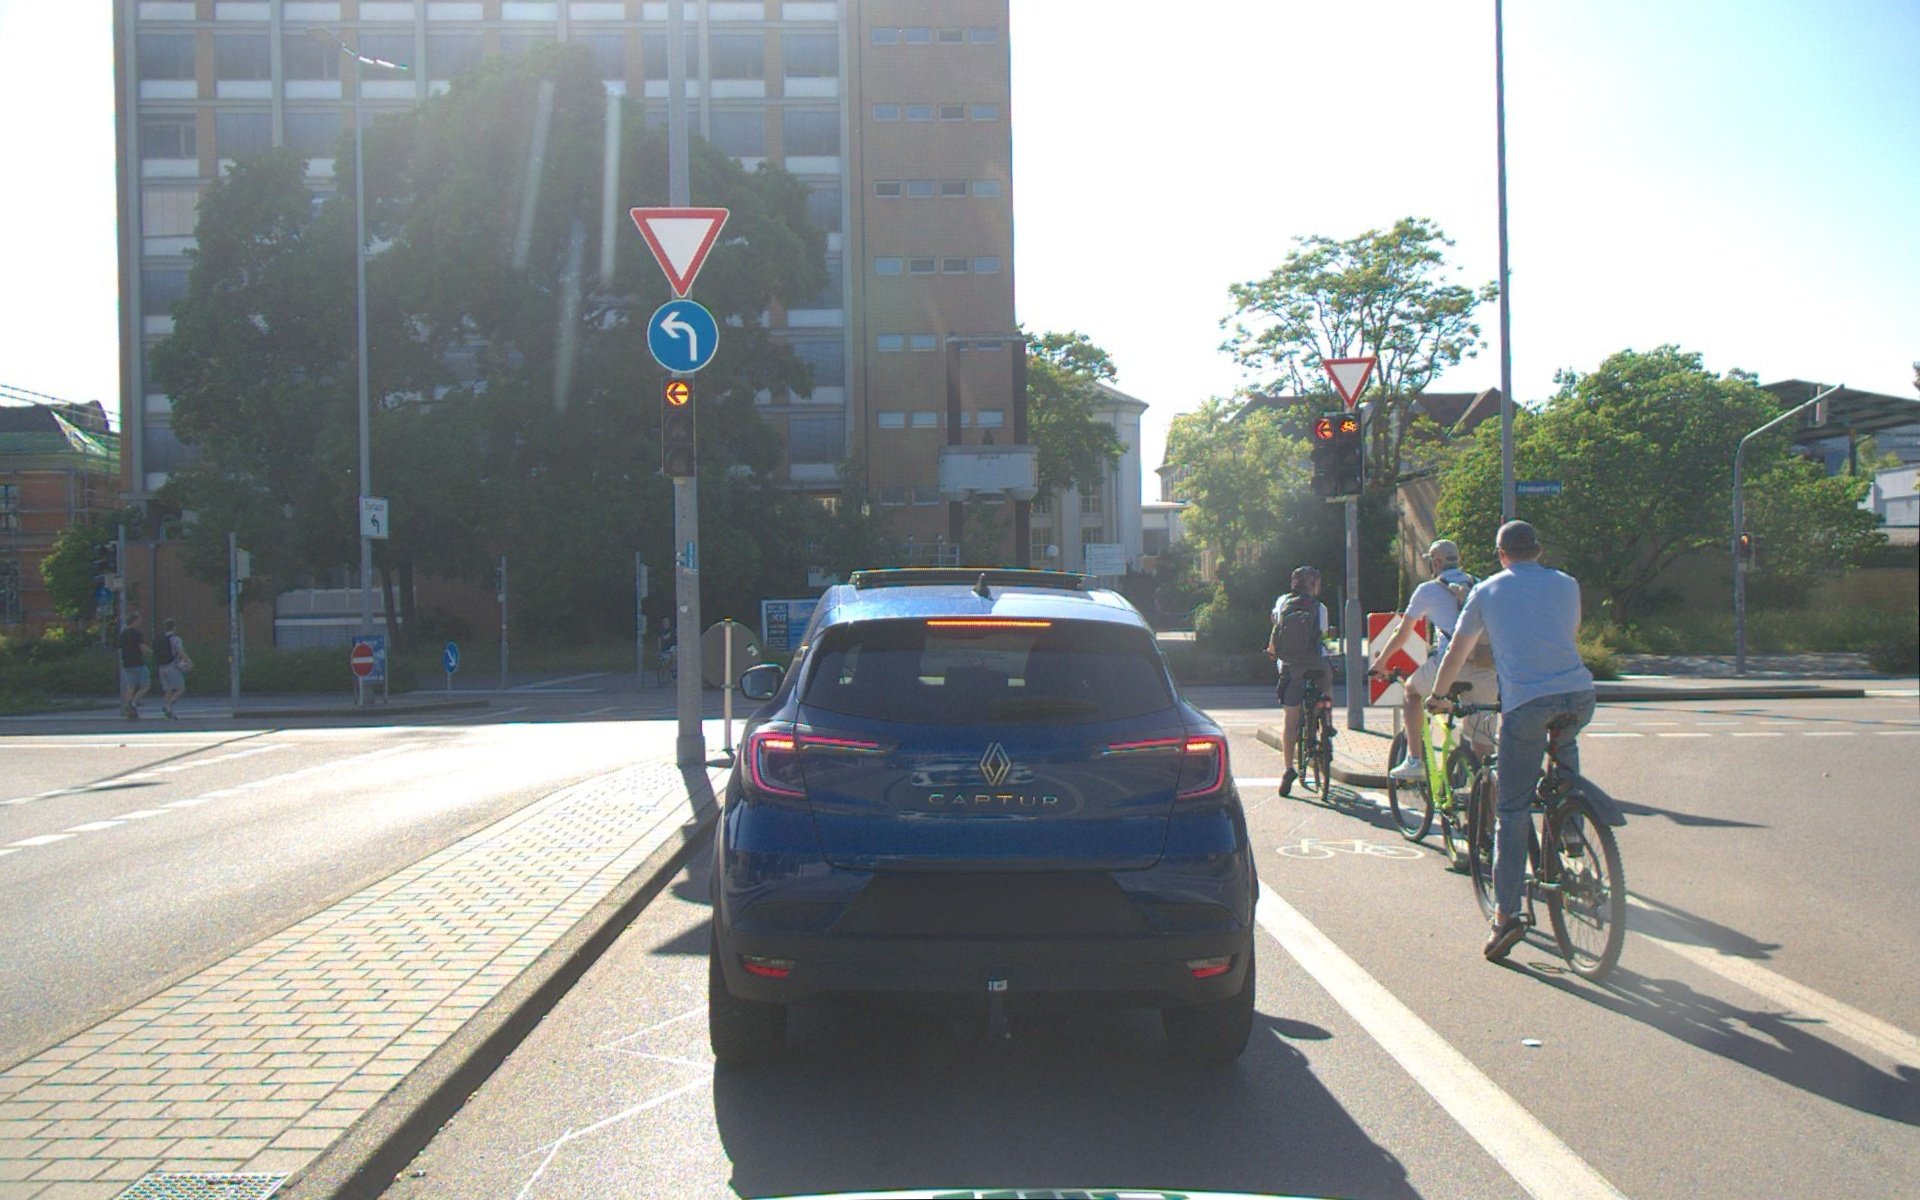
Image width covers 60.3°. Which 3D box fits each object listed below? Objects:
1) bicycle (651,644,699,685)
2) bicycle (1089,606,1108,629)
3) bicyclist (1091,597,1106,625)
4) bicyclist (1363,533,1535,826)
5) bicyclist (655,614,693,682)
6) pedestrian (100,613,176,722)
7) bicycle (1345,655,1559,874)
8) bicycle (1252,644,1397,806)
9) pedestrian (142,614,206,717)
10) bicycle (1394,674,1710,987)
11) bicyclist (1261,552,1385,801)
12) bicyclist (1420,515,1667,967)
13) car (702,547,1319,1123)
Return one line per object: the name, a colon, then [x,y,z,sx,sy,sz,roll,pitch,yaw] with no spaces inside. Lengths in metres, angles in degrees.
bicycle: [-7.525,1.697,43.765,0.739,1.002,2.095,-1,0,5]
bicycle: [7.320,0.913,87.514,0.680,1.160,2.440,-1,0,-1]
bicyclist: [7.315,0.584,87.487,0.680,1.507,0.717,-1,0,-1]
bicyclist: [2.856,0.443,9.753,0.664,1.622,1.142,0,0,-1]
bicyclist: [-7.543,1.254,43.662,0.739,1.746,0.999,-1,0,5]
pedestrian: [-14.600,1.193,29.400,0.796,1.895,0.910,-1,0,13]
bicycle: [2.853,0.909,9.805,0.675,1.108,1.922,0,0,-1]
bicycle: [2.781,0.922,12.805,0.675,1.108,1.922,0,0,-1]
pedestrian: [-13.806,1.138,29.052,0.666,1.761,0.761,-1,0,13]
bicycle: [2.505,0.919,7.256,0.675,1.108,1.922,0,0,-1]
bicyclist: [2.758,0.560,12.659,0.685,1.822,1.142,0,0,-1]
bicyclist: [2.516,0.568,7.252,0.669,1.822,1.142,0,0,-1]
car: [0.063,0.662,6.640,1.753,1.613,3.912,0,0,-3]
